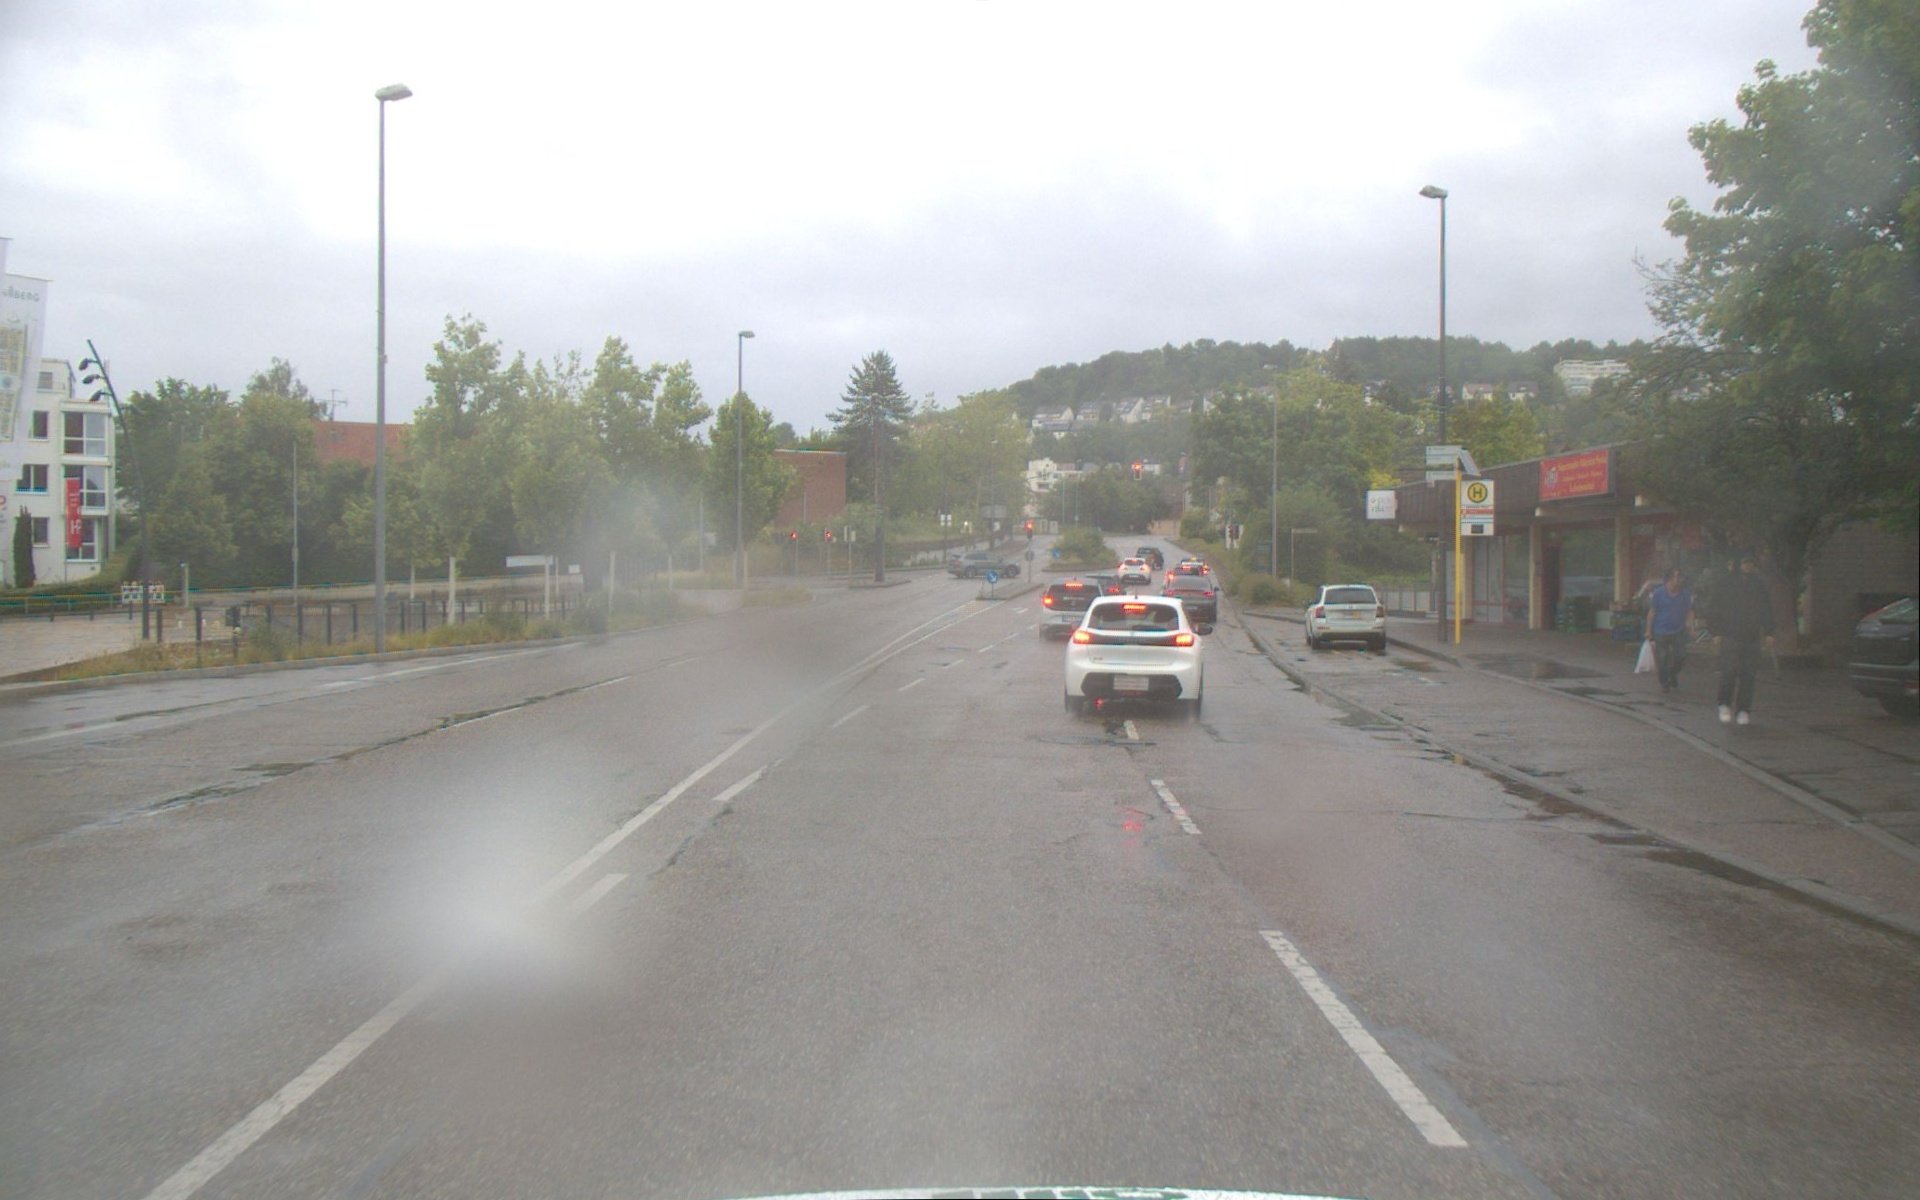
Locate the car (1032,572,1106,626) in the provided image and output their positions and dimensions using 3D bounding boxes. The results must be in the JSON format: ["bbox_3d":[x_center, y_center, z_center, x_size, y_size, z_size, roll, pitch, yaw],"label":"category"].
[{"bbox_3d":[2.844,-0.014,42.482,1.704,1.318,3.336,-1,0,7],"label":"car"}]

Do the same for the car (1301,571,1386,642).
[{"bbox_3d":[9.096,0.115,39.493,1.693,1.523,4.485,-1,1,10],"label":"car"}]

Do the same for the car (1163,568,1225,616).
[{"bbox_3d":[7.969,-0.308,56.537,1.698,1.411,3.354,1,3,2],"label":"car"}]

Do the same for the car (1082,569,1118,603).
[{"bbox_3d":[5.153,-0.509,60.976,1.187,1.176,2.270,-1,-1,2],"label":"car"}]

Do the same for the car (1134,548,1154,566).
[{"bbox_3d":[12.863,-3.013,115.757,1.337,1.177,2.428,-1,-1,5],"label":"car"}]

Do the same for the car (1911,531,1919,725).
[{"bbox_3d":[11.340,0.253,15.284,4.009,1.903,1.877,-1,1,3],"label":"car"}]

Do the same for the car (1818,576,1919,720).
[{"bbox_3d":[11.787,0.457,17.907,4.063,1.479,1.803,-1,0,0],"label":"car"}]

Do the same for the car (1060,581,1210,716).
[{"bbox_3d":[2.350,0.544,21.429,1.655,1.545,3.937,1,1,10],"label":"car"}]

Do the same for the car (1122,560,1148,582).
[{"bbox_3d":[9.903,-1.619,93.825,1.356,1.146,2.611,-1,-1,4],"label":"car"}]

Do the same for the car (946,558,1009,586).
[{"bbox_3d":[1.071,-1.702,101.509,3.472,1.596,1.785,0,-2,-27],"label":"car"}]

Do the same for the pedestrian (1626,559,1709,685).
[{"bbox_3d":[10.191,0.300,23.844,0.857,1.767,0.760,-1,1,0],"label":"pedestrian"}]

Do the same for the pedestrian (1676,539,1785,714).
[{"bbox_3d":[8.401,0.292,18.047,0.700,1.853,0.789,0,-2,-28],"label":"pedestrian"}]
